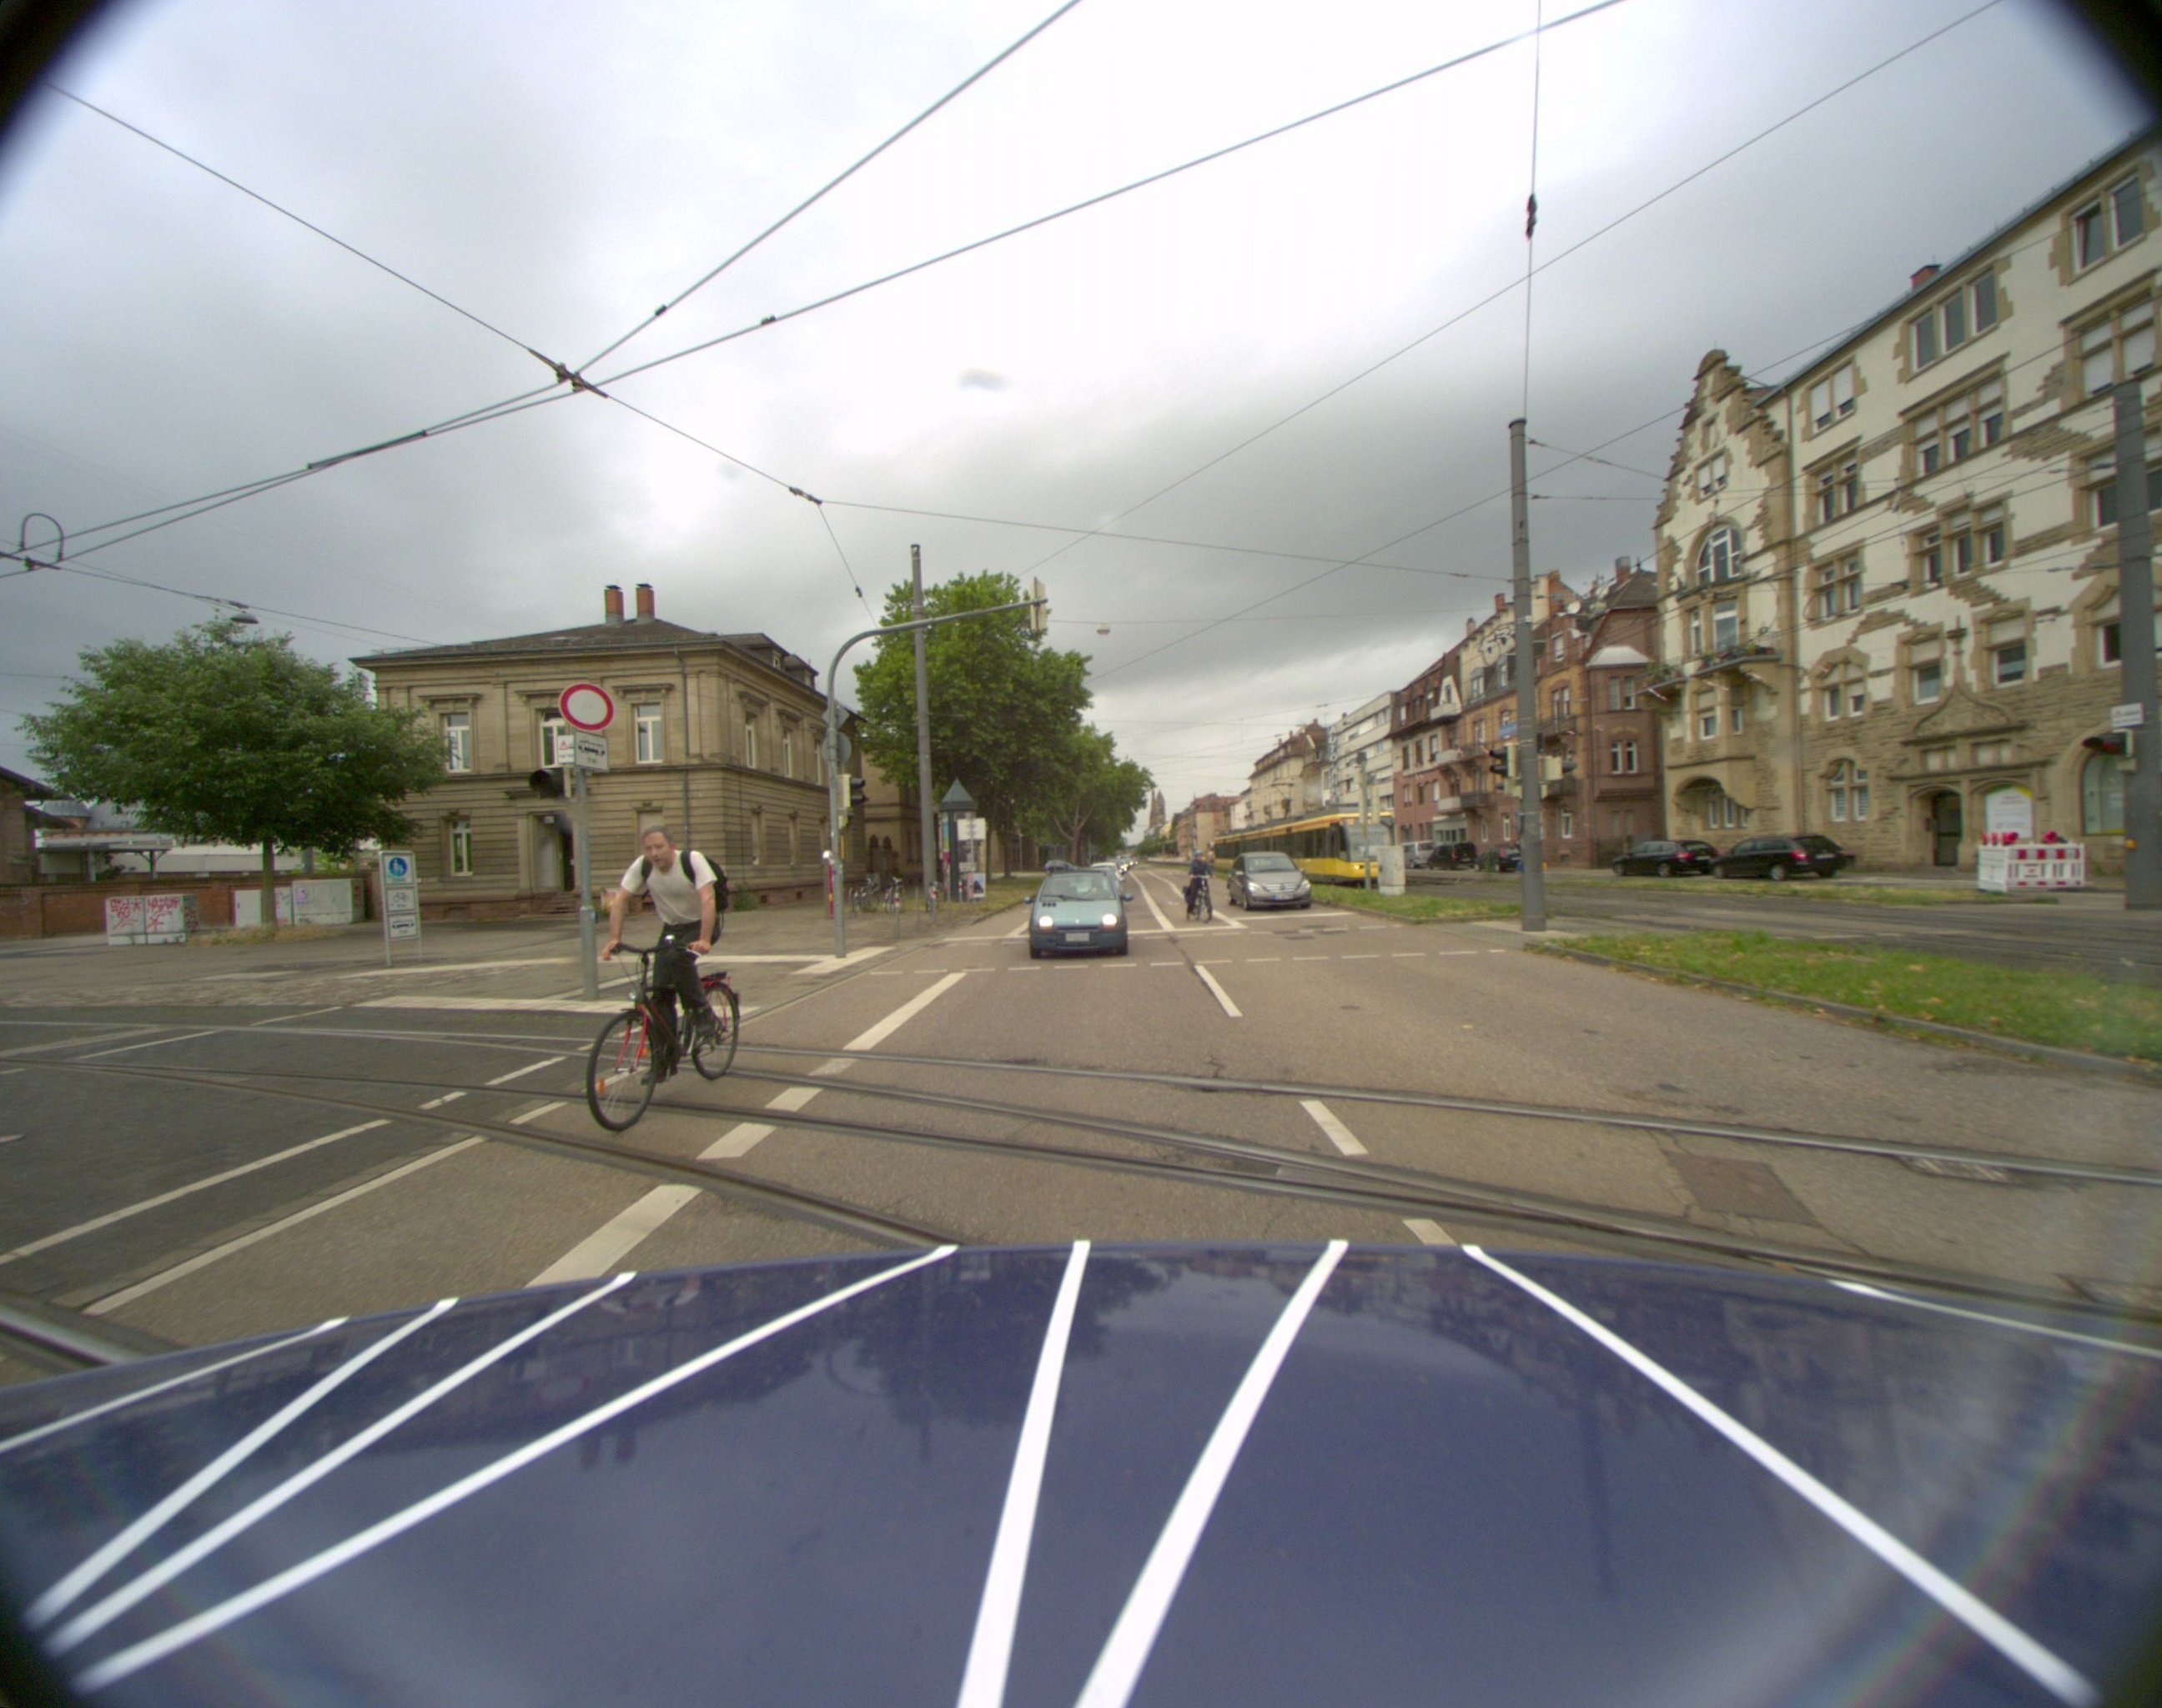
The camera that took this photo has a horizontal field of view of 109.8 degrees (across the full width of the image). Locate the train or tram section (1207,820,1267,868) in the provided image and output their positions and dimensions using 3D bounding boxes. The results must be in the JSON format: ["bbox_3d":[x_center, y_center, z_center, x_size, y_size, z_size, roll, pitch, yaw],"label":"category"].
[{"bbox_3d":[12.584,-0.842,62.587,2.651,3.417,13.619,-2,1,3],"label":"train or tram section"}]

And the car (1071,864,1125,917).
[{"bbox_3d":[0.596,1.111,24.252,1.534,1.464,3.354,-1,1,4],"label":"car"}]

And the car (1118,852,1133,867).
[{"bbox_3d":[6.483,0.763,111.517,1.998,2.002,3.999,-2,1,1],"label":"car"}]

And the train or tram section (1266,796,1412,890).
[{"bbox_3d":[11.379,-0.493,35.395,2.651,3.417,13.619,-2,1,3],"label":"train or tram section"}]

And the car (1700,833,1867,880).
[{"bbox_3d":[23.917,0.057,26.111,1.999,1.434,3.999,-2,1,0],"label":"car"}]

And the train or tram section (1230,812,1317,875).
[{"bbox_3d":[12.013,-0.669,48.969,2.651,3.417,13.619,-2,1,3],"label":"train or tram section"}]

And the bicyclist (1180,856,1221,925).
[{"bbox_3d":[2.872,0.869,18.320,0.812,1.586,0.890,-2,-1,1],"label":"bicyclist"}]

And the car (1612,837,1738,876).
[{"bbox_3d":[24.123,0.081,31.067,1.999,1.434,3.999,-2,1,0],"label":"car"}]

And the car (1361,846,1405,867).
[{"bbox_3d":[25.252,0.166,63.712,1.999,1.587,3.999,-2,1,0],"label":"car"}]

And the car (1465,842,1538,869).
[{"bbox_3d":[24.457,0.051,44.363,1.999,1.434,3.999,-2,1,0],"label":"car"}]

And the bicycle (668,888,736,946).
[{"bbox_3d":[-8.824,1.437,17.797,0.677,1.158,2.113,-2,1,-6],"label":"bicycle"}]

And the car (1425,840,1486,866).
[{"bbox_3d":[24.700,-0.100,50.237,1.999,1.587,3.999,-2,1,0],"label":"car"}]

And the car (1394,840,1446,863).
[{"bbox_3d":[25.279,-0.196,56.817,1.999,1.587,3.999,-2,1,0],"label":"car"}]

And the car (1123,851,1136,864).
[{"bbox_3d":[8.203,0.601,129.083,1.998,2.002,3.999,-2,1,1],"label":"car"}]

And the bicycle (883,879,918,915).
[{"bbox_3d":[-6.141,1.446,25.868,0.718,1.062,1.699,-2,1,1],"label":"bicycle"}]

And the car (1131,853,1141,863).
[{"bbox_3d":[12.618,0.925,175.947,1.998,2.002,3.999,-2,1,1],"label":"car"}]

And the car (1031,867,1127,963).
[{"bbox_3d":[0.064,1.035,14.196,1.534,1.464,3.354,-1,1,4],"label":"car"}]

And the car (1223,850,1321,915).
[{"bbox_3d":[5.360,0.733,21.799,1.869,1.630,3.775,-2,1,1],"label":"car"}]

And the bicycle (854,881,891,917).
[{"bbox_3d":[-7.116,1.525,26.036,0.718,1.062,1.699,-2,1,1],"label":"bicycle"}]

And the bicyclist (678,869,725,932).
[{"bbox_3d":[-8.842,1.063,17.725,0.694,1.392,0.815,-2,1,-8],"label":"bicyclist"}]

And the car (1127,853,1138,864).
[{"bbox_3d":[10.380,0.850,153.323,1.998,2.002,3.999,-2,1,1],"label":"car"}]

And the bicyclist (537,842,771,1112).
[{"bbox_3d":[-2.787,0.732,5.126,0.812,1.591,1.189,-2,1,1],"label":"bicyclist"}]

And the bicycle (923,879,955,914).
[{"bbox_3d":[-4.821,1.438,25.921,0.718,1.062,1.699,-2,1,1],"label":"bicycle"}]

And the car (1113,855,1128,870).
[{"bbox_3d":[4.143,0.908,79.447,1.534,1.464,3.354,-1,1,4],"label":"car"}]

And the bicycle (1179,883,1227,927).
[{"bbox_3d":[2.893,1.192,18.257,0.812,0.939,2.147,-2,-2,1],"label":"bicycle"}]

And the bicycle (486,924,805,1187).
[{"bbox_3d":[-2.771,1.200,5.251,0.814,1.163,2.277,-2,1,1],"label":"bicycle"}]

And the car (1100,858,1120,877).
[{"bbox_3d":[2.420,1.125,63.451,1.534,1.464,3.354,-1,1,4],"label":"car"}]

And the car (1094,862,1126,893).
[{"bbox_3d":[1.514,1.183,39.383,1.534,1.464,3.354,-1,1,4],"label":"car"}]
